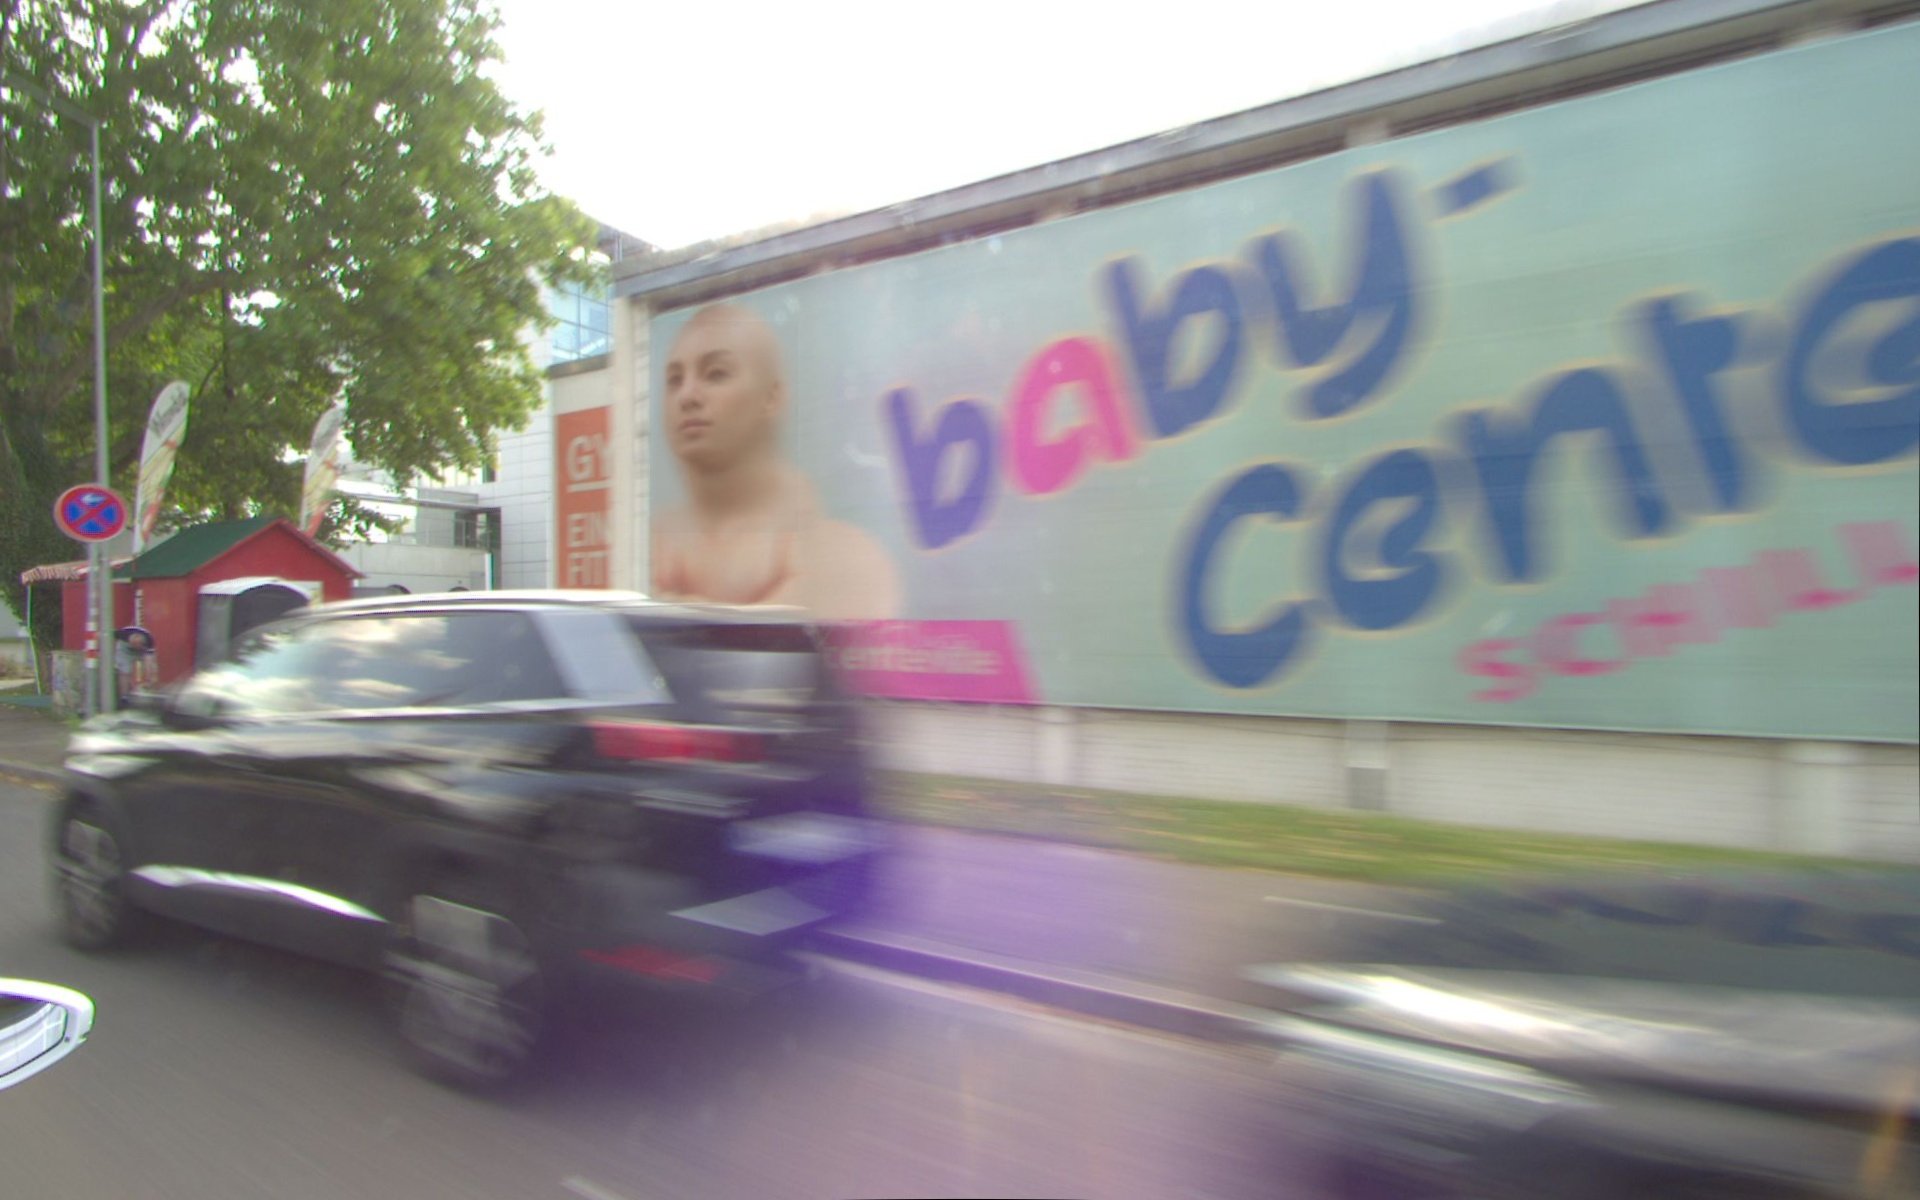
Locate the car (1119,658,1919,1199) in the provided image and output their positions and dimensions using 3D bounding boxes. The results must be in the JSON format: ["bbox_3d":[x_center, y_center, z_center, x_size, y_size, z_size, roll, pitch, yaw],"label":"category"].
[{"bbox_3d":[2.692,0.855,1.499,4.523,1.408,1.806,-1,-4,33],"label":"car"}]

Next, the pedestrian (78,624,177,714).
[{"bbox_3d":[-12.778,1.031,15.375,0.953,1.331,1.009,-1,-1,39],"label":"pedestrian"}]

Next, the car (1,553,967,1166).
[{"bbox_3d":[-2.406,0.782,4.719,4.570,1.686,1.807,0,-3,30],"label":"car"}]

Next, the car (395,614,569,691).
[{"bbox_3d":[-10.432,1.089,21.785,3.946,1.531,1.735,-1,-1,35],"label":"car"}]

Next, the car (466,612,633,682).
[{"bbox_3d":[-10.088,1.103,24.560,3.939,1.589,1.738,-1,-1,29],"label":"car"}]

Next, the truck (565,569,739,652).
[{"bbox_3d":[-15.732,0.608,52.151,2.757,3.947,9.506,-1,-1,28],"label":"truck"}]
